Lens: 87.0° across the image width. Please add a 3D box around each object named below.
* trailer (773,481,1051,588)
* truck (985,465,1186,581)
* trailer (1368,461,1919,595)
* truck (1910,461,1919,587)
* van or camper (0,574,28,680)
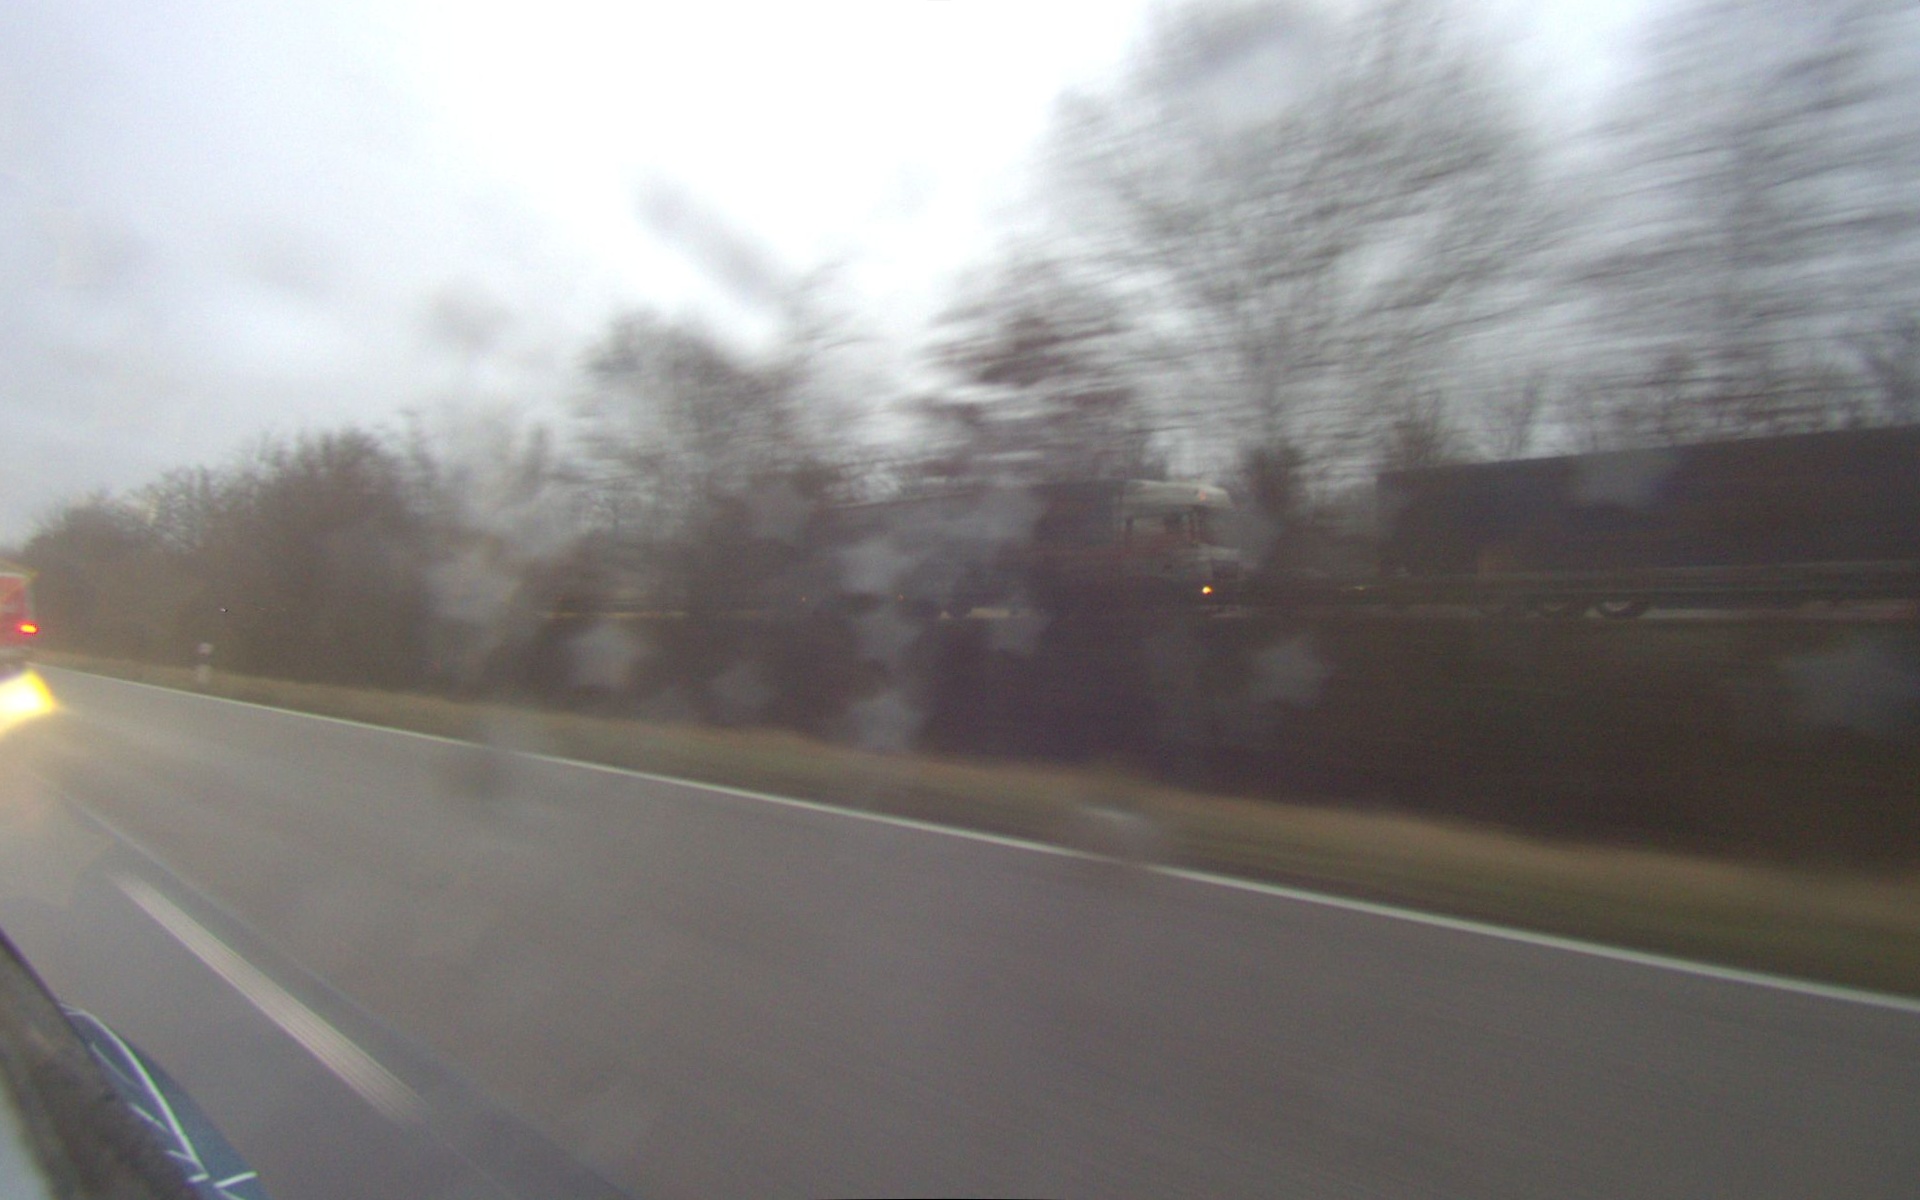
[{"bbox_3d":[-2.053,-2.033,35.120,11.079,2.913,2.410,-1,-2,41],"label":"trailer"},{"bbox_3d":[3.649,-2.144,30.164,5.580,2.909,2.424,-1,-2,41],"label":"truck"},{"bbox_3d":[16.252,-1.476,24.728,11.496,2.443,2.482,-1,-2,41],"label":"trailer"},{"bbox_3d":[21.624,-1.573,20.003,3.998,2.454,2.503,-1,-2,41],"label":"truck"},{"bbox_3d":[-28.149,0.754,28.555,6.740,2.798,2.000,-1,-2,41],"label":"van or camper"}]
